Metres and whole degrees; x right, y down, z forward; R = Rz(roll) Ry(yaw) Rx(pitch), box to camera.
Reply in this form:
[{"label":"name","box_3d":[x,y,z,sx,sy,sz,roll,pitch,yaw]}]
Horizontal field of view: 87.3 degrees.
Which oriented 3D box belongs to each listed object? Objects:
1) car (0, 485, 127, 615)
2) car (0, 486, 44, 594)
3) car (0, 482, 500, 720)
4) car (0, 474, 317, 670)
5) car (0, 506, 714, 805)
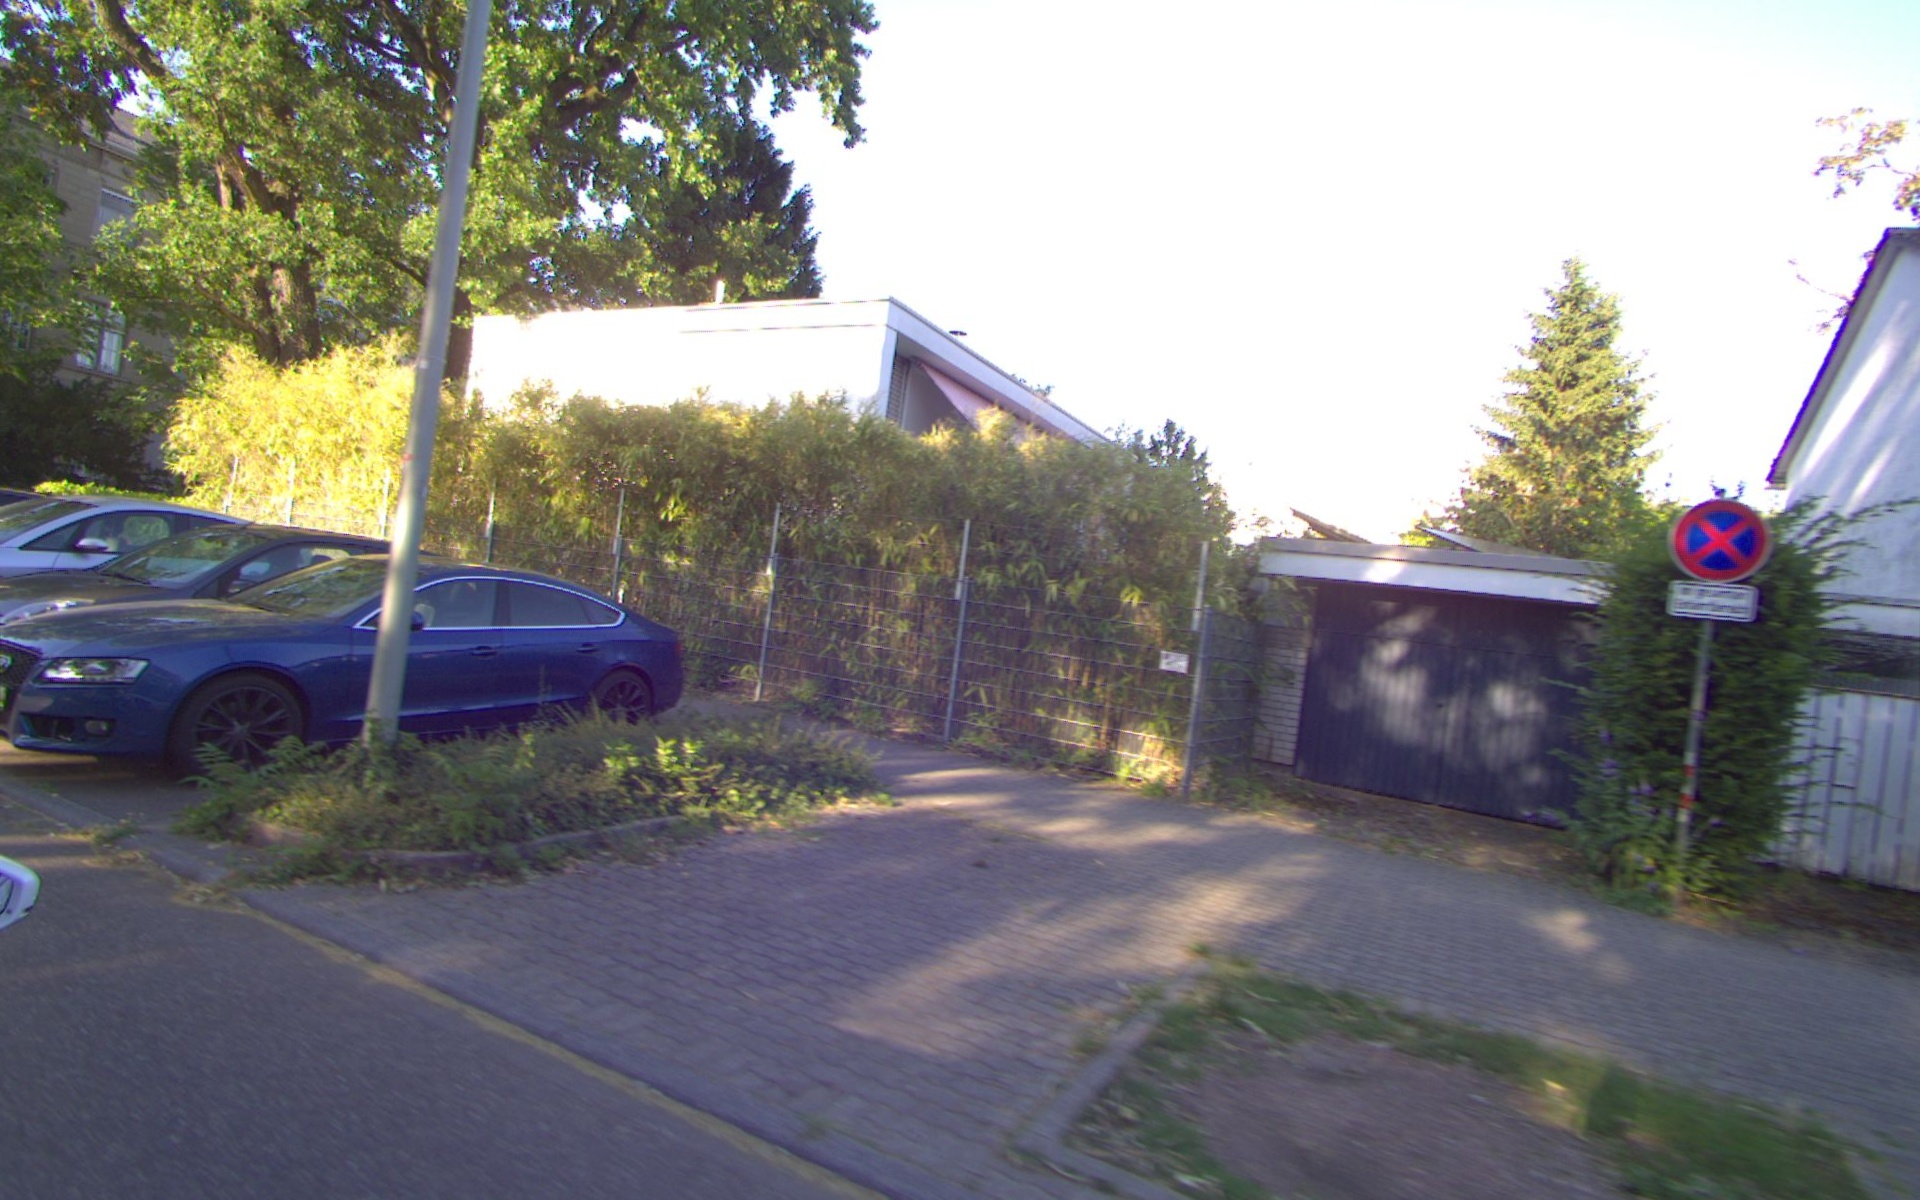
[{"label":"car","box_3d":[-13.512,-0.868,12.426,1.857,1.567,4.505,7,-2,25]},{"label":"car","box_3d":[-15.578,-1.129,13.858,1.647,1.534,3.962,7,-2,31]},{"label":"car","box_3d":[-6.187,0.073,8.639,1.759,1.541,3.693,7,-2,25]},{"label":"car","box_3d":[-8.439,-0.267,9.529,1.729,1.603,3.507,7,-1,18]},{"label":"car","box_3d":[-4.167,0.335,7.371,1.890,1.432,4.596,6,0,29]}]
